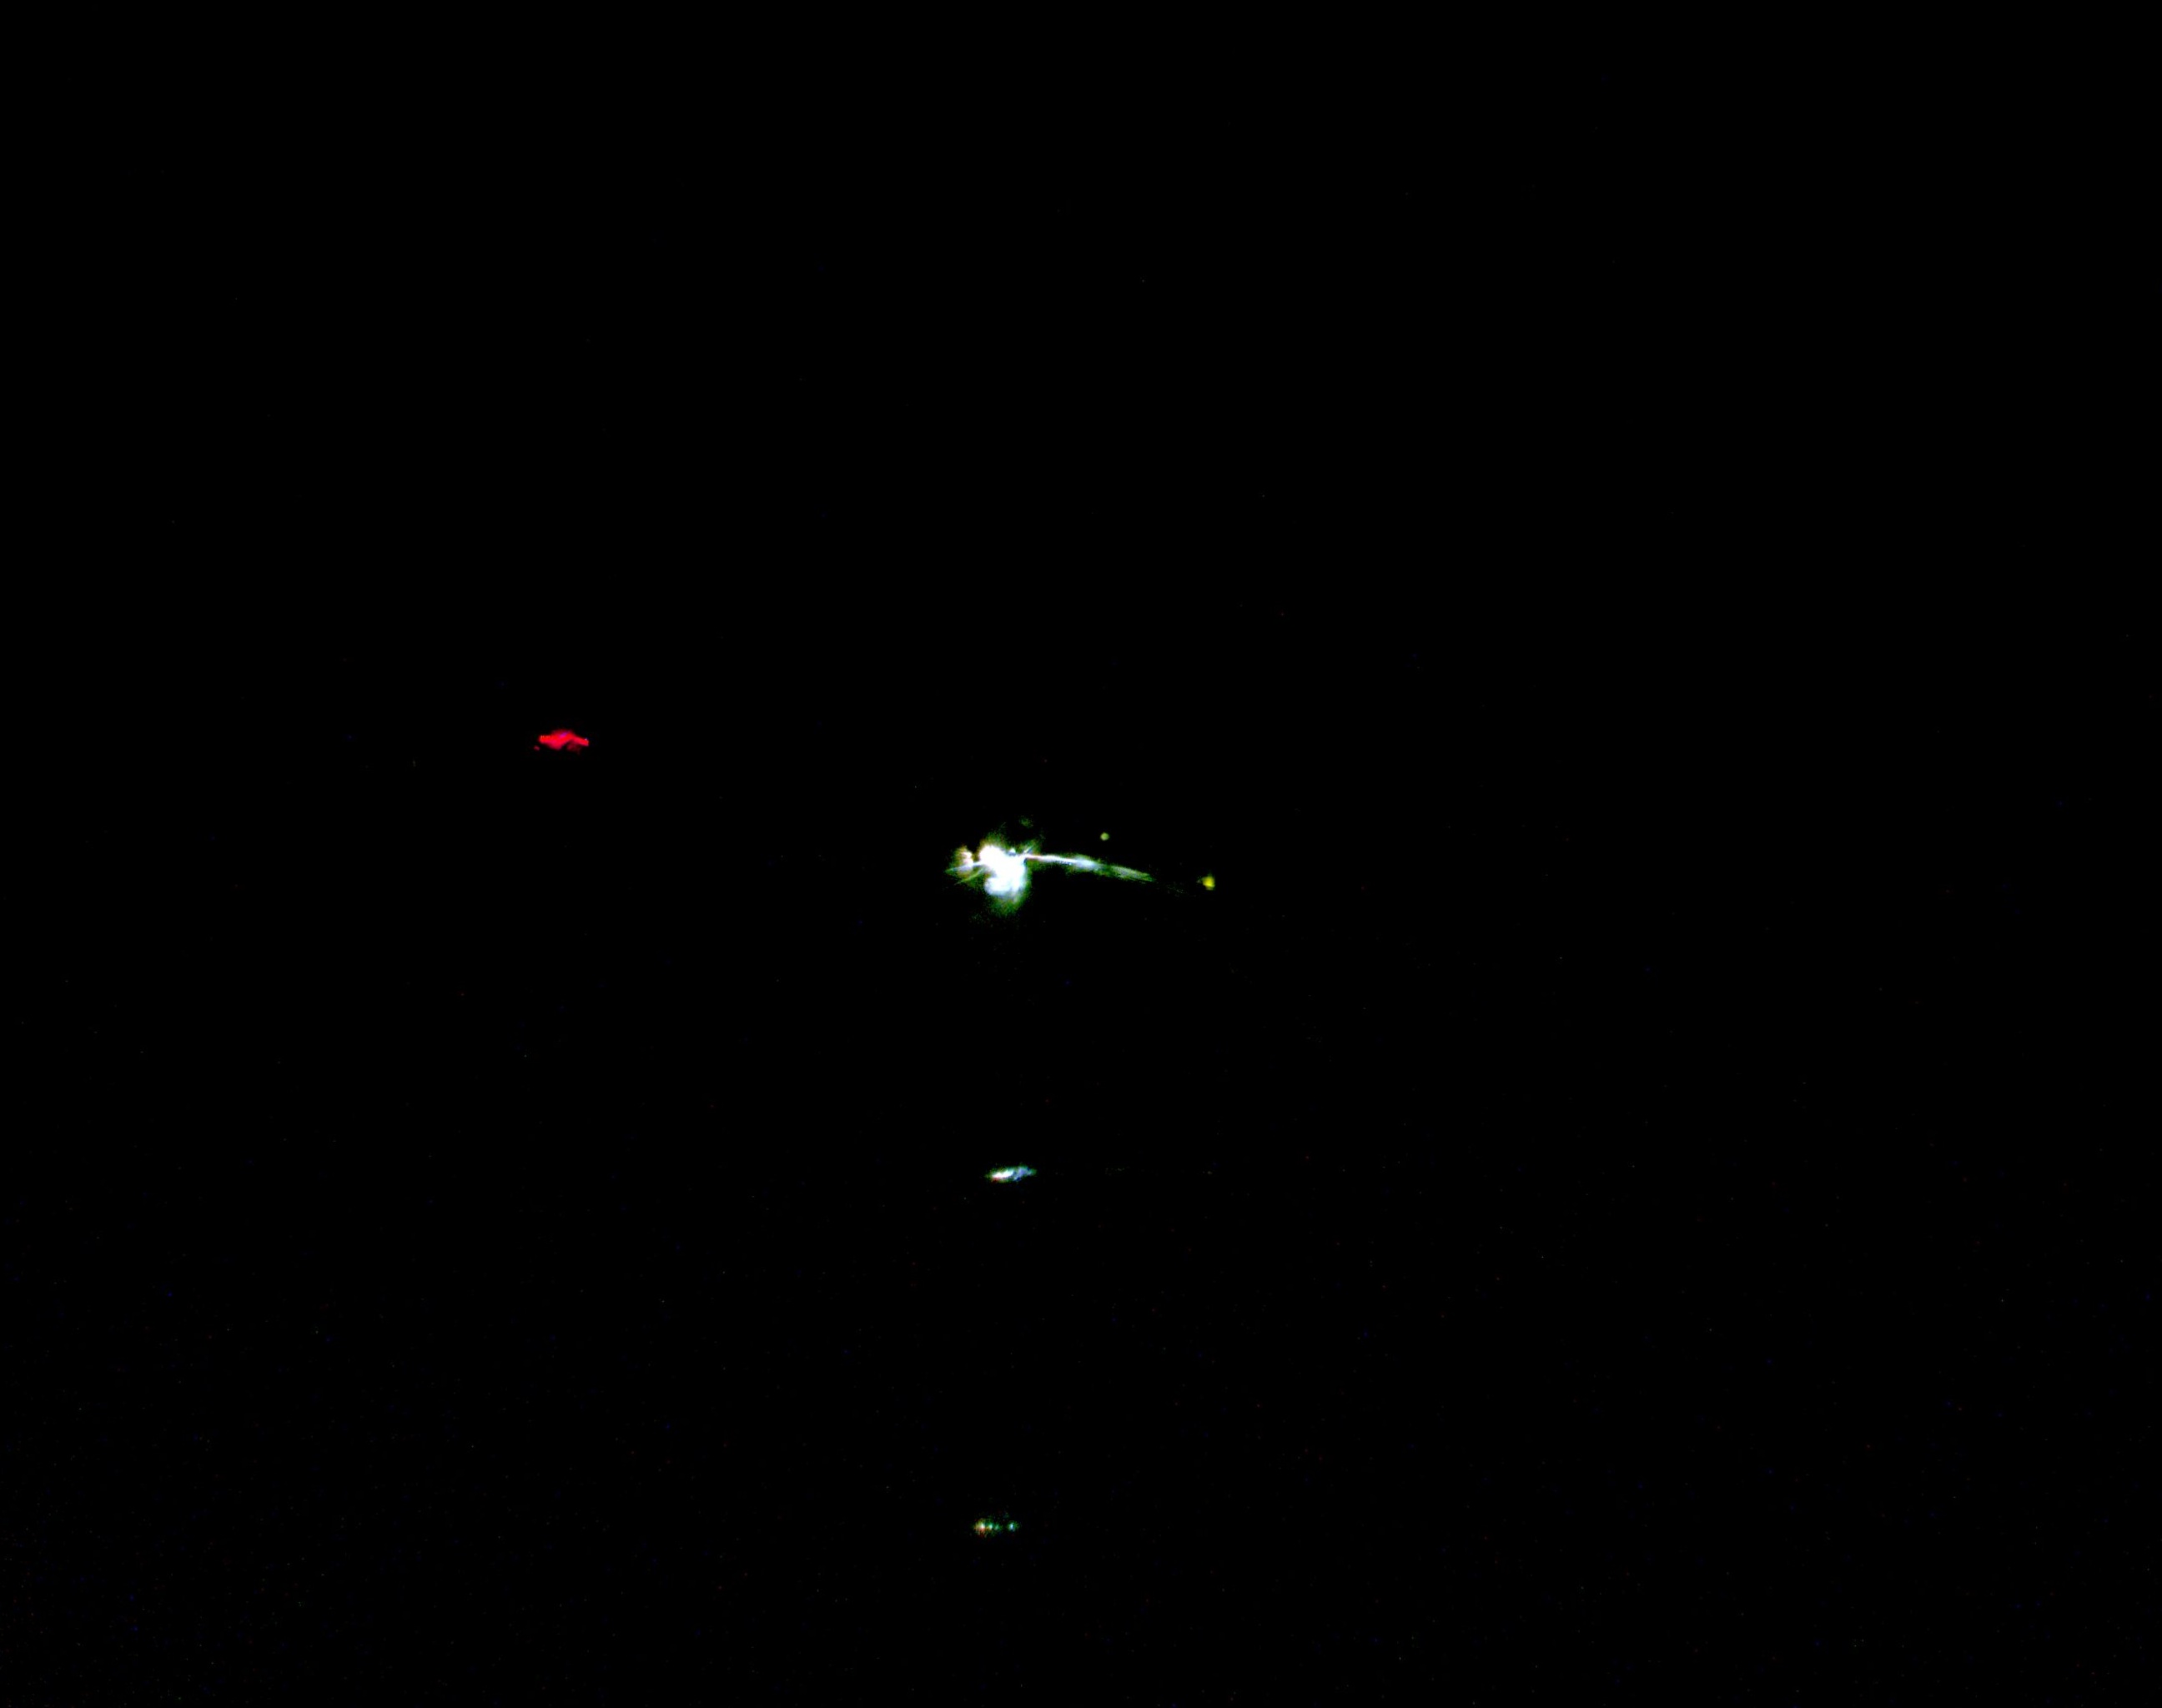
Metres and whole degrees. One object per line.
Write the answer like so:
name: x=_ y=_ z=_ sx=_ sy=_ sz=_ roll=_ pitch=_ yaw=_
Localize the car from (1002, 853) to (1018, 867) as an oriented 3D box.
car: x=-7.807 y=0.656 z=89.315 sx=1.699 sy=1.506 sz=3.677 roll=-1 pitch=0 yaw=-5
